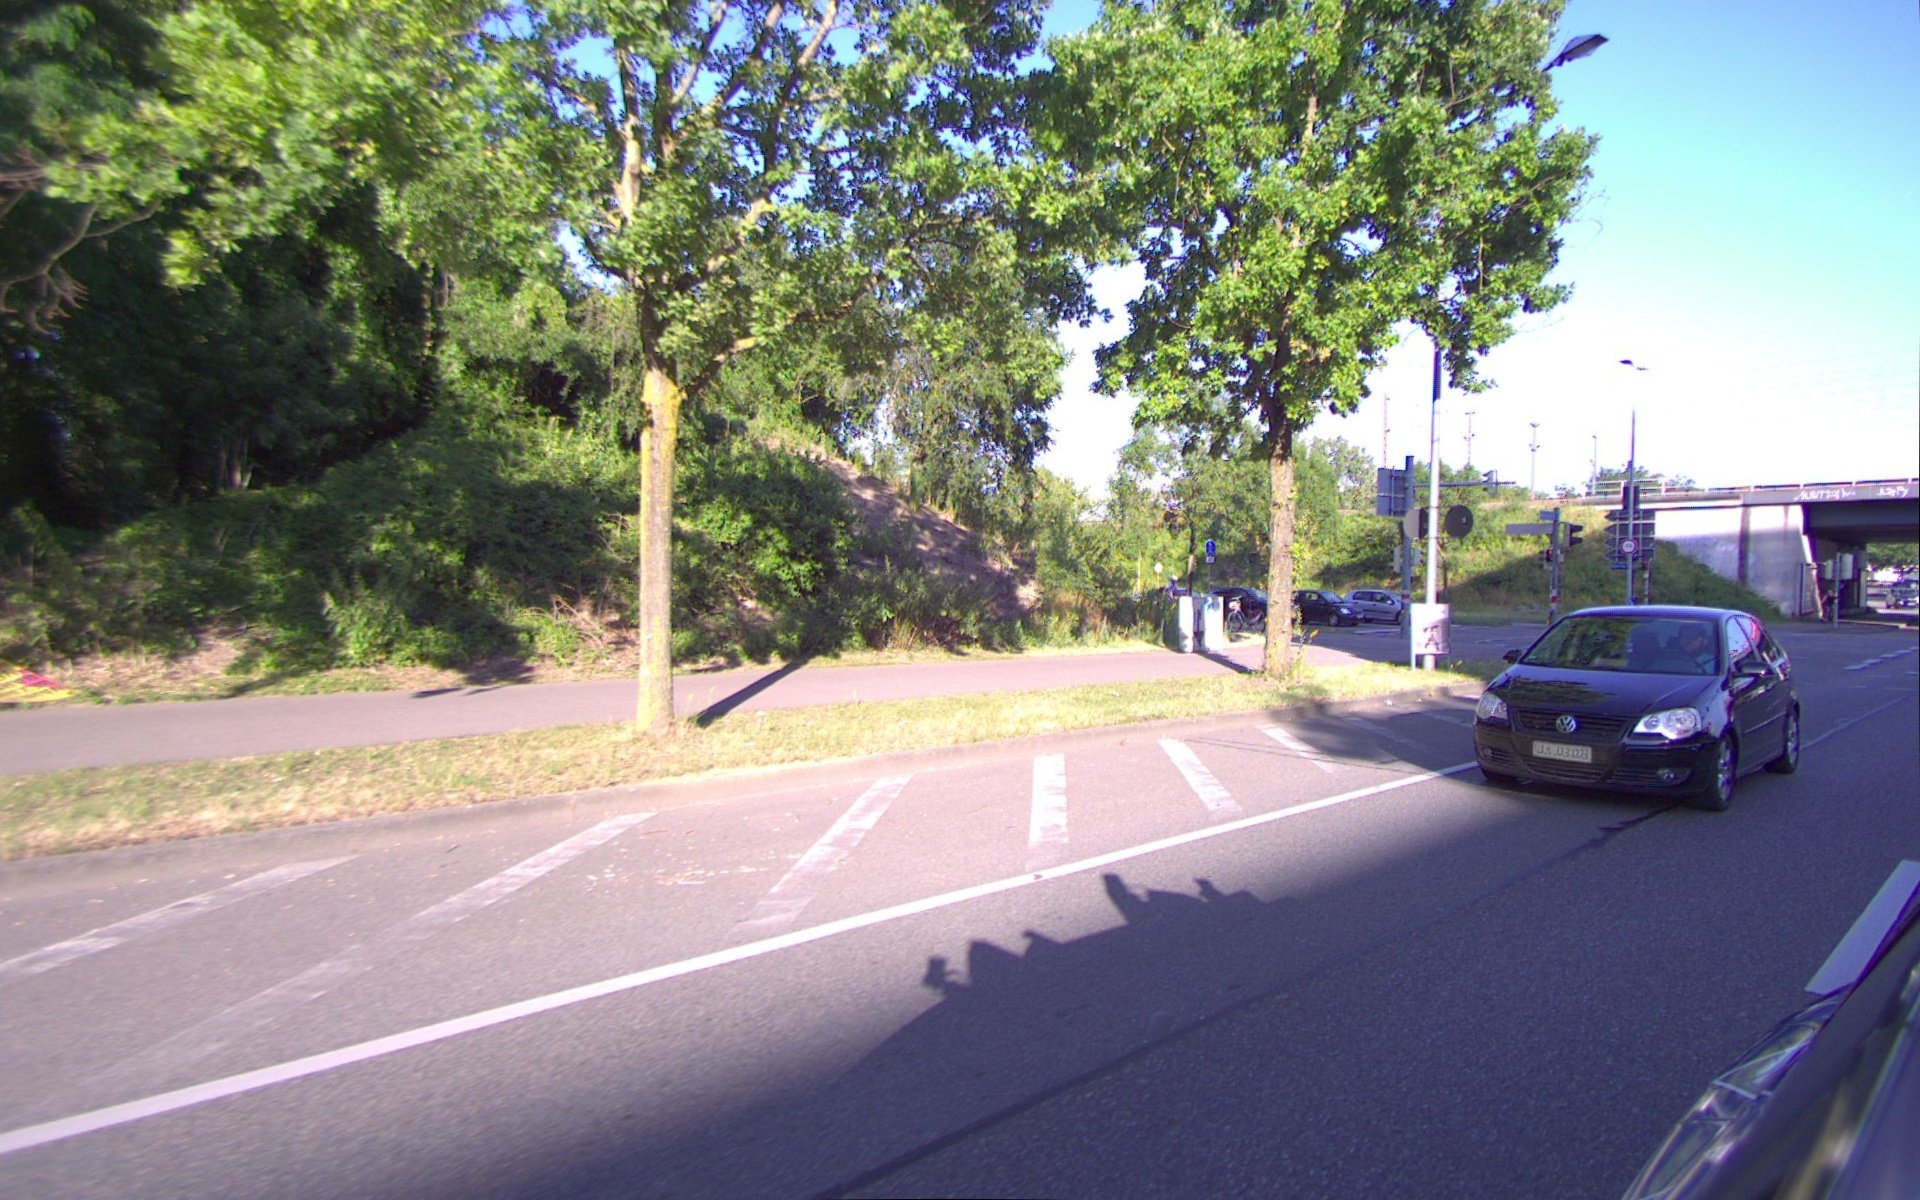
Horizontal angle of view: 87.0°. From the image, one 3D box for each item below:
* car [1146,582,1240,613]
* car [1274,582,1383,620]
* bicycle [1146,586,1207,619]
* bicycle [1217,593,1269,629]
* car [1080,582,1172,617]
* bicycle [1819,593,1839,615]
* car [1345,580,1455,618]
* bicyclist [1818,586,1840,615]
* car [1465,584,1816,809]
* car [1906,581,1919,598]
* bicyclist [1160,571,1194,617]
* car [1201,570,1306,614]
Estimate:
[{"bbox_3d":[11.373,-0.130,49.640,2.002,1.425,4.343,-1,1,-34],"label":"car"},{"bbox_3d":[15.758,0.018,43.467,1.962,1.549,4.001,-1,1,-34],"label":"car"},{"bbox_3d":[7.668,0.070,35.904,0.807,1.126,2.016,-1,1,-40],"label":"bicycle"},{"bbox_3d":[8.753,0.320,31.338,0.566,1.003,1.671,3,1,-24],"label":"bicycle"},{"bbox_3d":[8.012,-0.038,49.146,2.002,1.587,4.343,-1,1,-34],"label":"car"},{"bbox_3d":[44.561,0.193,51.894,0.779,1.070,2.460,0,1,41],"label":"bicycle"},{"bbox_3d":[19.122,-0.055,44.058,1.857,1.549,3.996,-1,1,-39],"label":"car"},{"bbox_3d":[44.590,0.028,51.957,0.840,1.439,1.098,0,1,41],"label":"bicyclist"},{"bbox_3d":[5.778,0.609,8.431,3.621,1.427,1.618,-2,1,-42],"label":"car"},{"bbox_3d":[85.161,-0.948,89.681,1.872,1.457,3.625,0,1,44],"label":"car"},{"bbox_3d":[7.687,-0.208,35.894,0.779,1.614,0.858,-1,1,-41],"label":"bicyclist"},{"bbox_3d":[12.339,-0.348,42.695,1.827,1.715,4.001,-1,1,-34],"label":"car"}]
